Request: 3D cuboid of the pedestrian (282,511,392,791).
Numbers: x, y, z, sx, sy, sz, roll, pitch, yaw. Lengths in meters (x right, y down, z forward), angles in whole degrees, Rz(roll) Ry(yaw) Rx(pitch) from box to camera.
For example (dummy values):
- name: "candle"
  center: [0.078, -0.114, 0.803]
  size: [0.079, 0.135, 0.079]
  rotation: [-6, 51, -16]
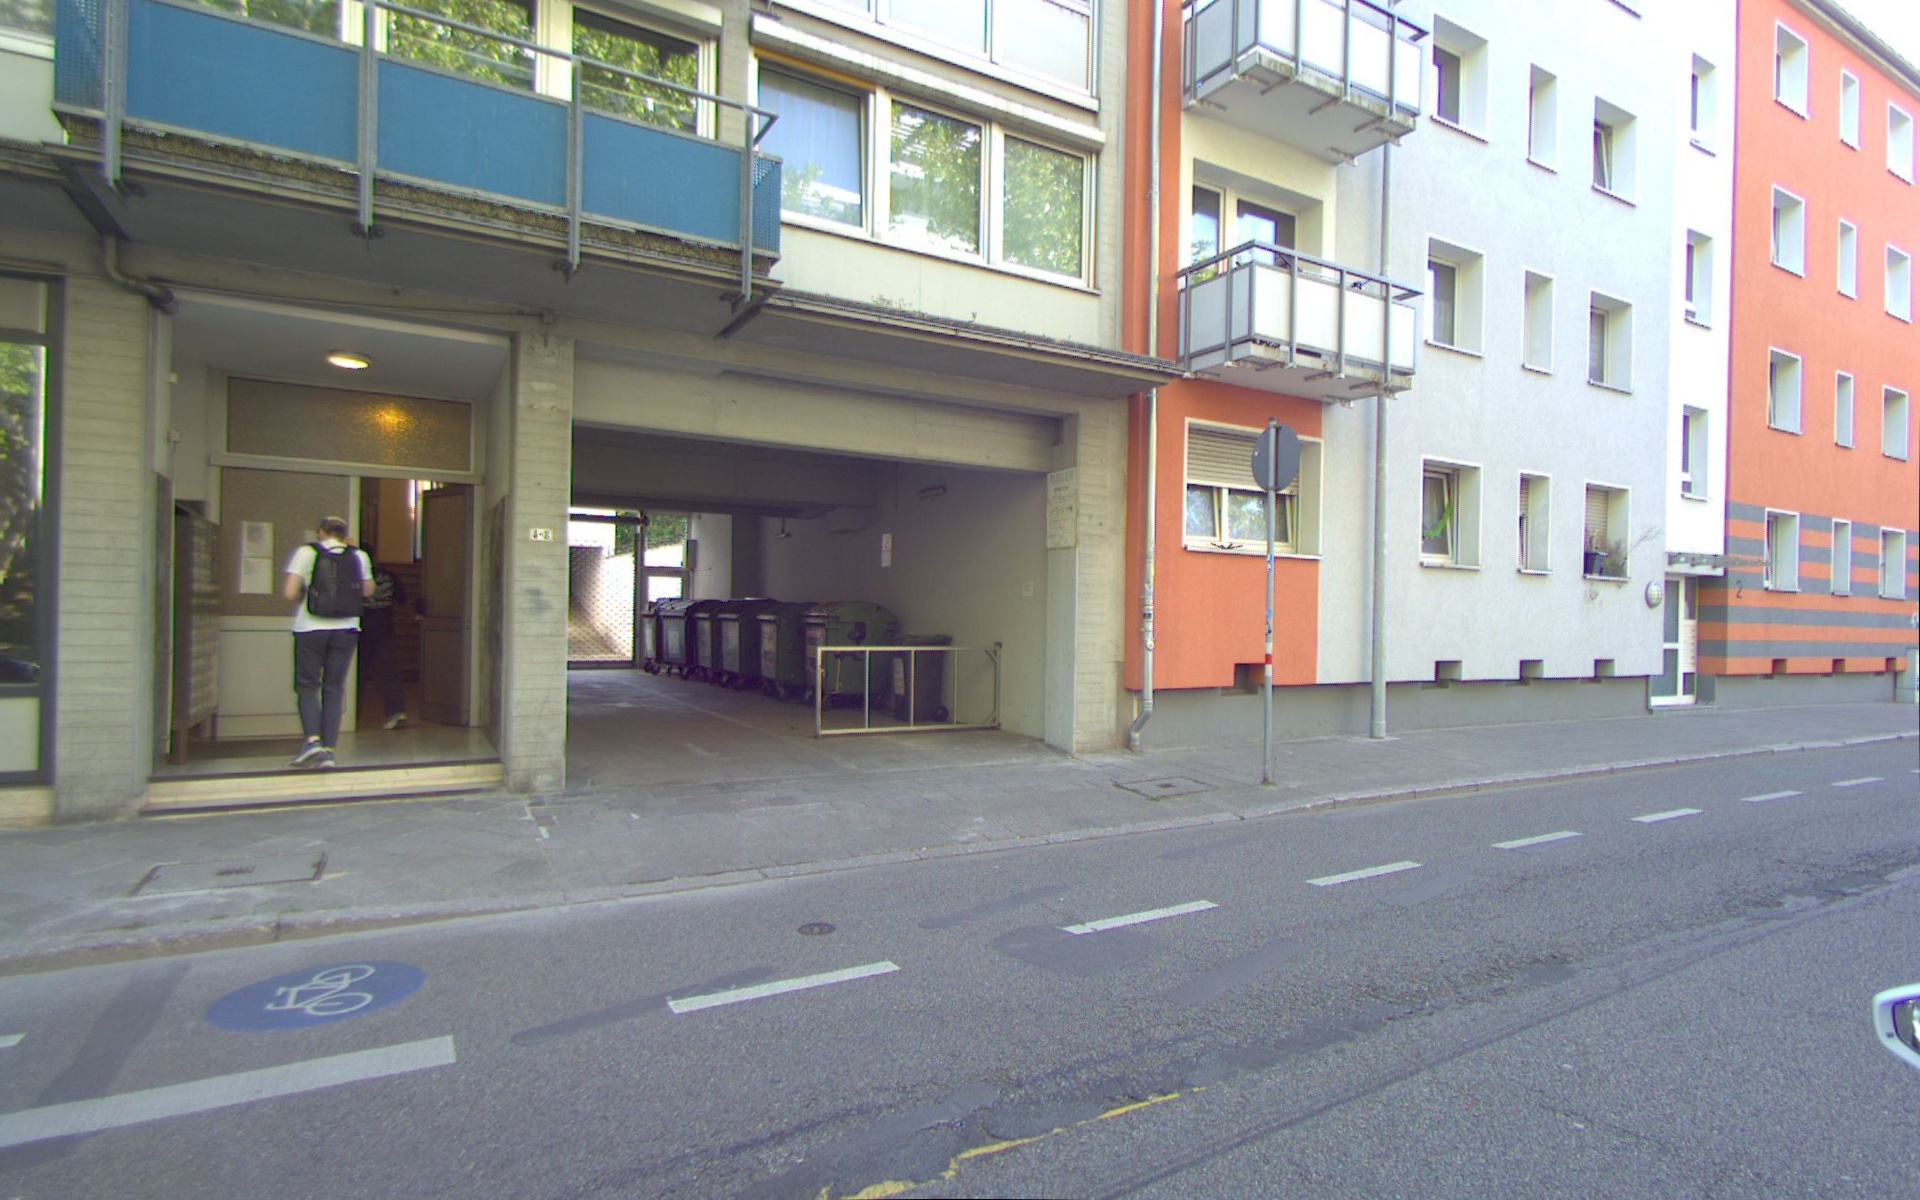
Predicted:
- name: "pedestrian"
  center: [-4.385, 0.328, 7.069]
  size: [0.595, 1.824, 0.871]
  rotation: [1, 1, -33]

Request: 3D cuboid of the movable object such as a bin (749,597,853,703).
- name: "movable object such as a bin"
  center: [-2.416, 0.727, 15.143]
  size: [1.167, 1.503, 1.252]
  rotation: [1, 0, -30]

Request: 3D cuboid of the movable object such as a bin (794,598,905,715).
- name: "movable object such as a bin"
  center: [-1.531, 0.736, 13.770]
  size: [1.086, 1.503, 1.251]
  rotation: [1, 0, -30]

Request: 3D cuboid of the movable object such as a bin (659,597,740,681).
- name: "movable object such as a bin"
  center: [-4.864, 0.705, 18.699]
  size: [1.167, 1.503, 1.215]
  rotation: [1, 0, -30]

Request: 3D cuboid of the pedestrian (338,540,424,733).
- name: "pedestrian"
  center: [-5.429, 0.336, 9.448]
  size: [0.654, 1.736, 0.544]
  rotation: [1, 0, -29]

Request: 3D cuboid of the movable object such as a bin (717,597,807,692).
- name: "movable object such as a bin"
  center: [-3.295, 0.720, 16.640]
  size: [1.167, 1.503, 1.073]
  rotation: [1, 0, -30]

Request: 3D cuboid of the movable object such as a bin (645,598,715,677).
- name: "movable object such as a bin"
  center: [-5.551, 0.733, 19.906]
  size: [1.167, 1.503, 0.819]
  rotation: [1, 0, -30]

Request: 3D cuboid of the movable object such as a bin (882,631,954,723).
- name: "movable object such as a bin"
  center: [-0.520, 0.937, 12.443]
  size: [0.687, 1.094, 0.579]
  rotation: [1, 0, -30]

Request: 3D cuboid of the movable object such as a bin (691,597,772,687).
- name: "movable object such as a bin"
  center: [-4.019, 0.717, 17.644]
  size: [1.080, 1.503, 1.159]
  rotation: [1, 0, -30]
